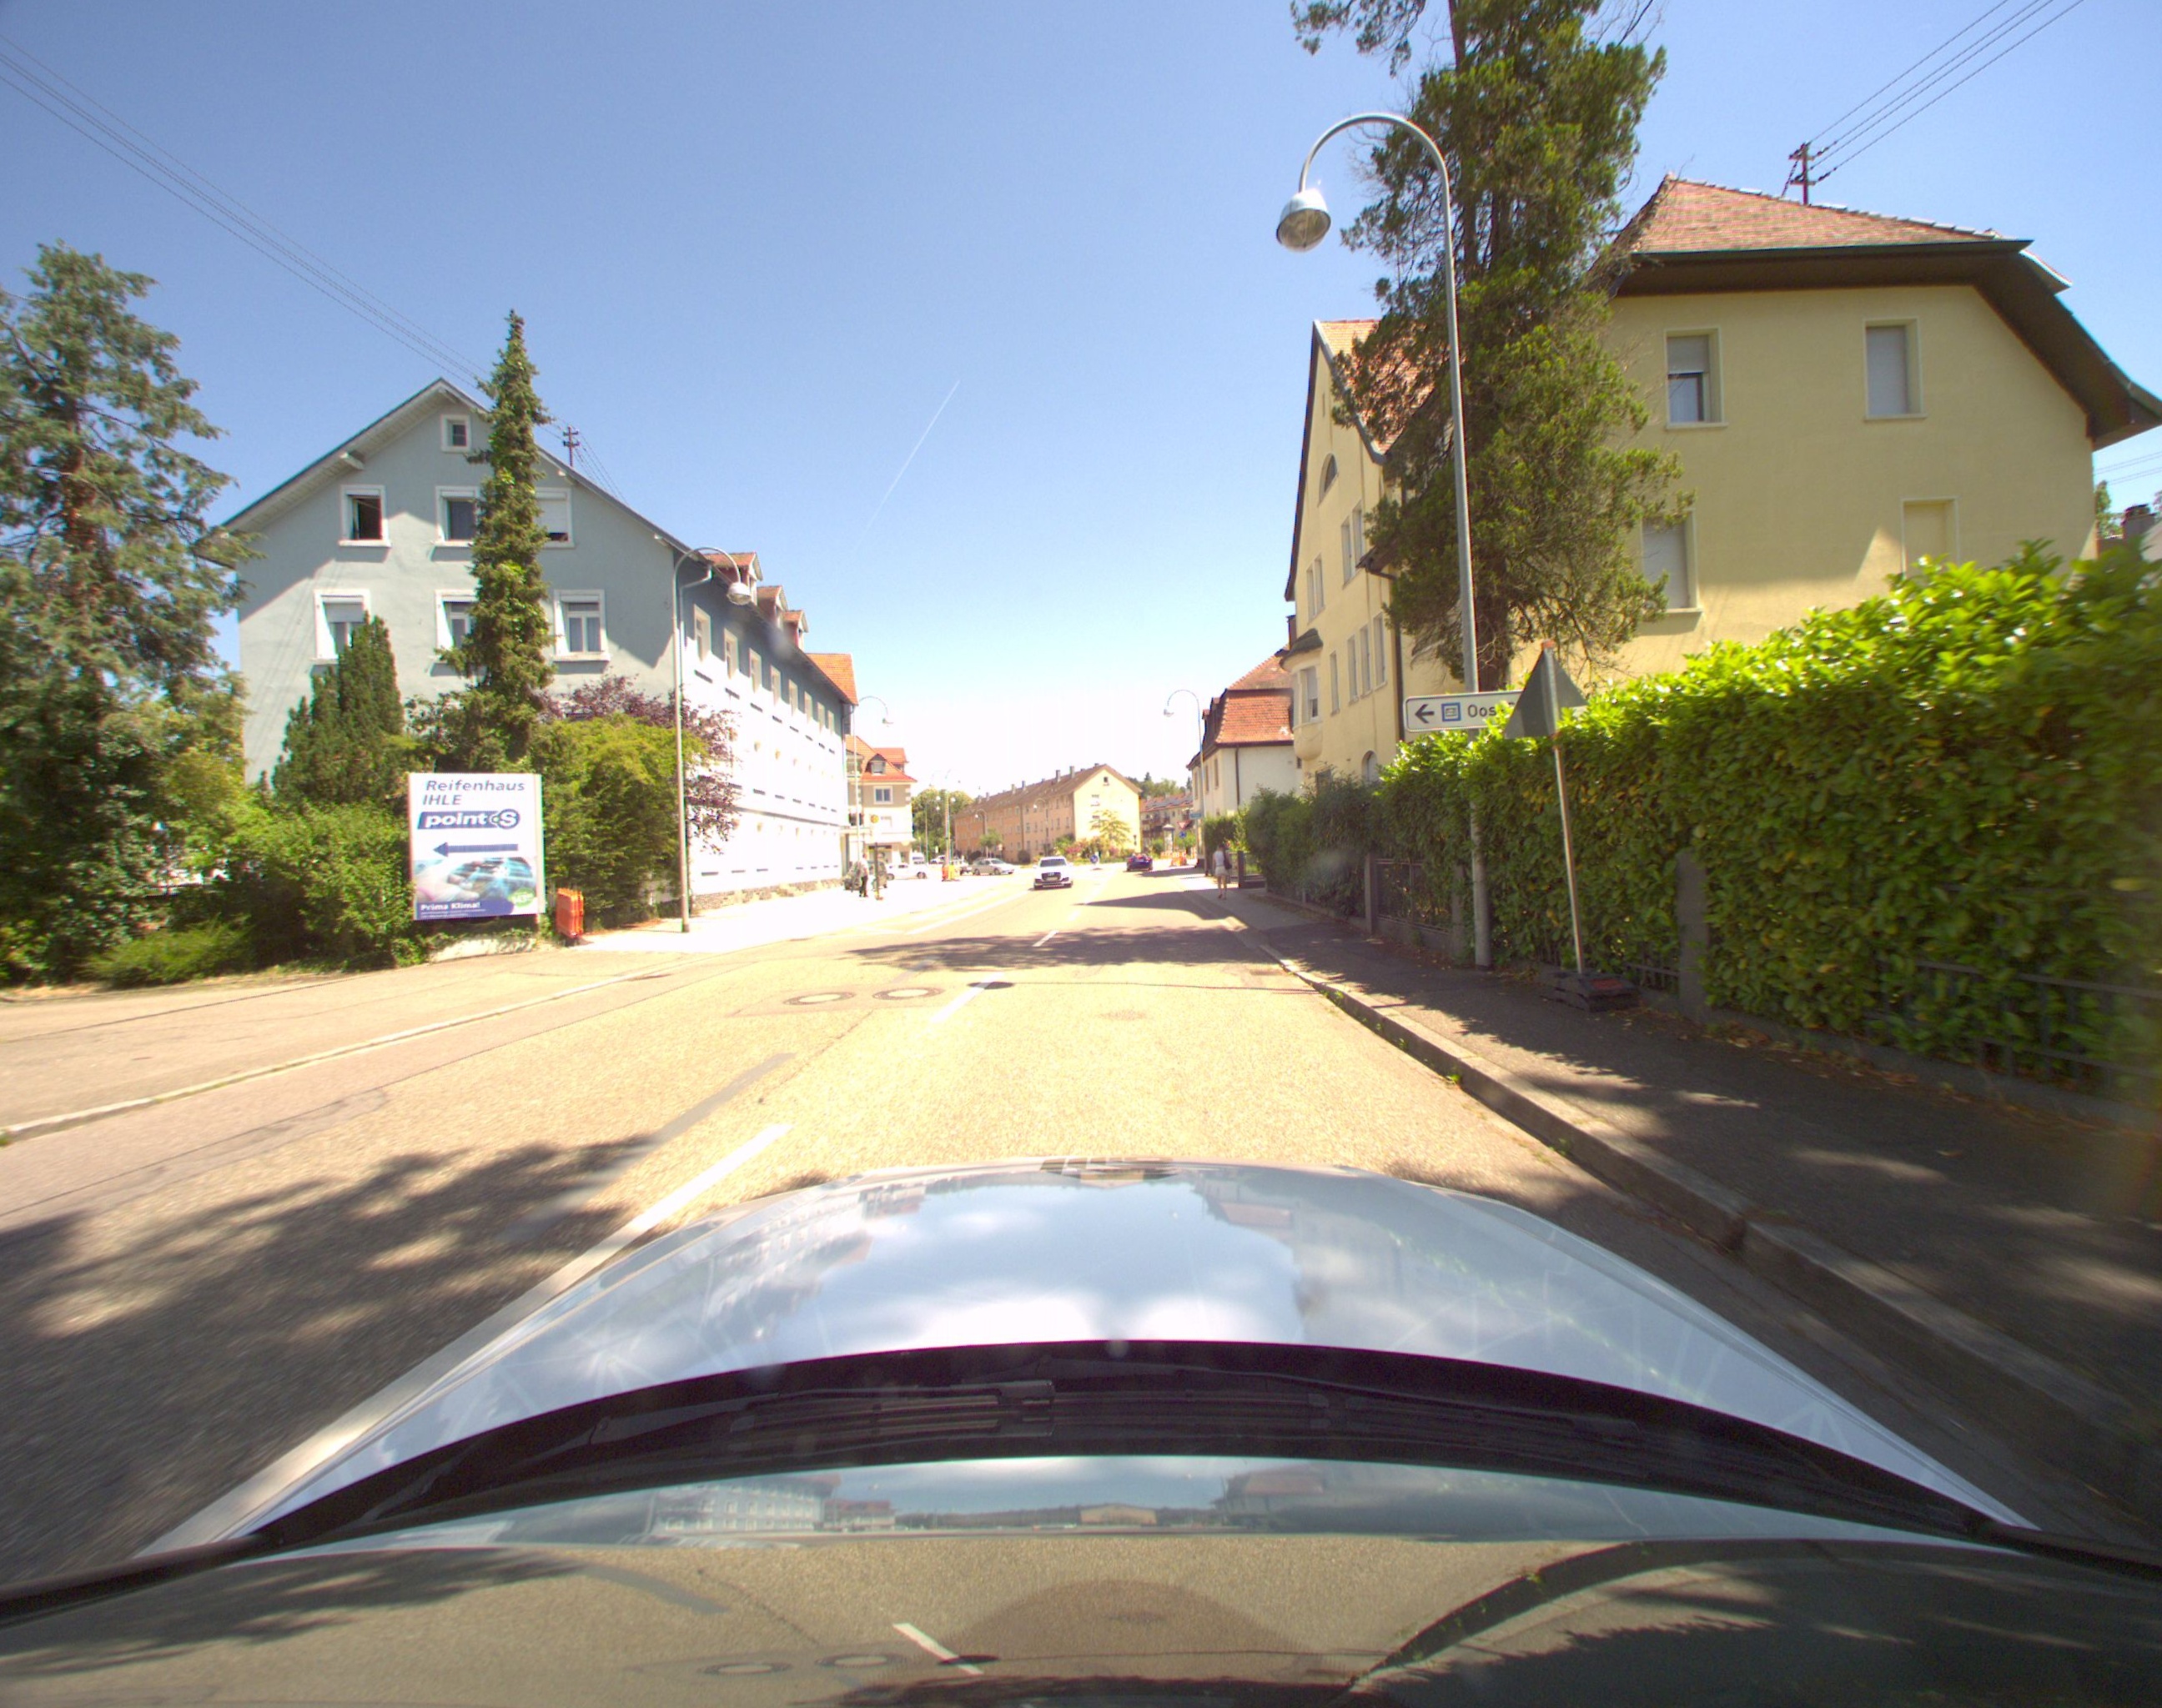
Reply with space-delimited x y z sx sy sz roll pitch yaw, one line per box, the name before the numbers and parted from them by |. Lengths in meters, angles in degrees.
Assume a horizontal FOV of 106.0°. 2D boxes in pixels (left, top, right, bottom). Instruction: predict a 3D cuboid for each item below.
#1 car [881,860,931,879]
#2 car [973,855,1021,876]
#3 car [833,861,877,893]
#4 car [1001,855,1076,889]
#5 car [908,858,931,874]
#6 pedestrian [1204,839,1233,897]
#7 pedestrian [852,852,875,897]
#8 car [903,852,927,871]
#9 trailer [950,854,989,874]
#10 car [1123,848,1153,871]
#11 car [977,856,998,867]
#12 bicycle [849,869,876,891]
car | -15.097 1.306 70.487 4.114 1.551 1.782 -1 -1 -9
car | -7.241 0.964 70.001 4.076 1.747 1.798 -2 -1 43
car | -11.622 1.204 42.066 1.576 1.534 3.766 -2 -2 -6
car | -2.119 0.903 39.671 1.834 1.530 3.906 -1 -2 -36
car | -18.139 1.334 91.531 1.782 1.685 4.662 -2 0 -20
pedestrian | 4.019 0.417 23.818 0.621 1.644 0.772 -3 -1 0
pedestrian | -9.156 0.845 34.270 0.754 1.848 0.771 1 -1 -5
car | -23.116 1.122 113.343 2.153 2.533 6.191 0 -1 -22
trailer | -9.948 0.854 72.526 3.157 1.717 1.767 -2 -1 43
car | 4.096 0.438 59.237 1.864 1.530 4.507 -2 -2 1
car | -14.011 1.173 121.891 1.821 1.500 3.966 -1 -1 -25
bicycle | -10.248 1.229 38.263 0.493 0.977 1.977 2 -1 8
